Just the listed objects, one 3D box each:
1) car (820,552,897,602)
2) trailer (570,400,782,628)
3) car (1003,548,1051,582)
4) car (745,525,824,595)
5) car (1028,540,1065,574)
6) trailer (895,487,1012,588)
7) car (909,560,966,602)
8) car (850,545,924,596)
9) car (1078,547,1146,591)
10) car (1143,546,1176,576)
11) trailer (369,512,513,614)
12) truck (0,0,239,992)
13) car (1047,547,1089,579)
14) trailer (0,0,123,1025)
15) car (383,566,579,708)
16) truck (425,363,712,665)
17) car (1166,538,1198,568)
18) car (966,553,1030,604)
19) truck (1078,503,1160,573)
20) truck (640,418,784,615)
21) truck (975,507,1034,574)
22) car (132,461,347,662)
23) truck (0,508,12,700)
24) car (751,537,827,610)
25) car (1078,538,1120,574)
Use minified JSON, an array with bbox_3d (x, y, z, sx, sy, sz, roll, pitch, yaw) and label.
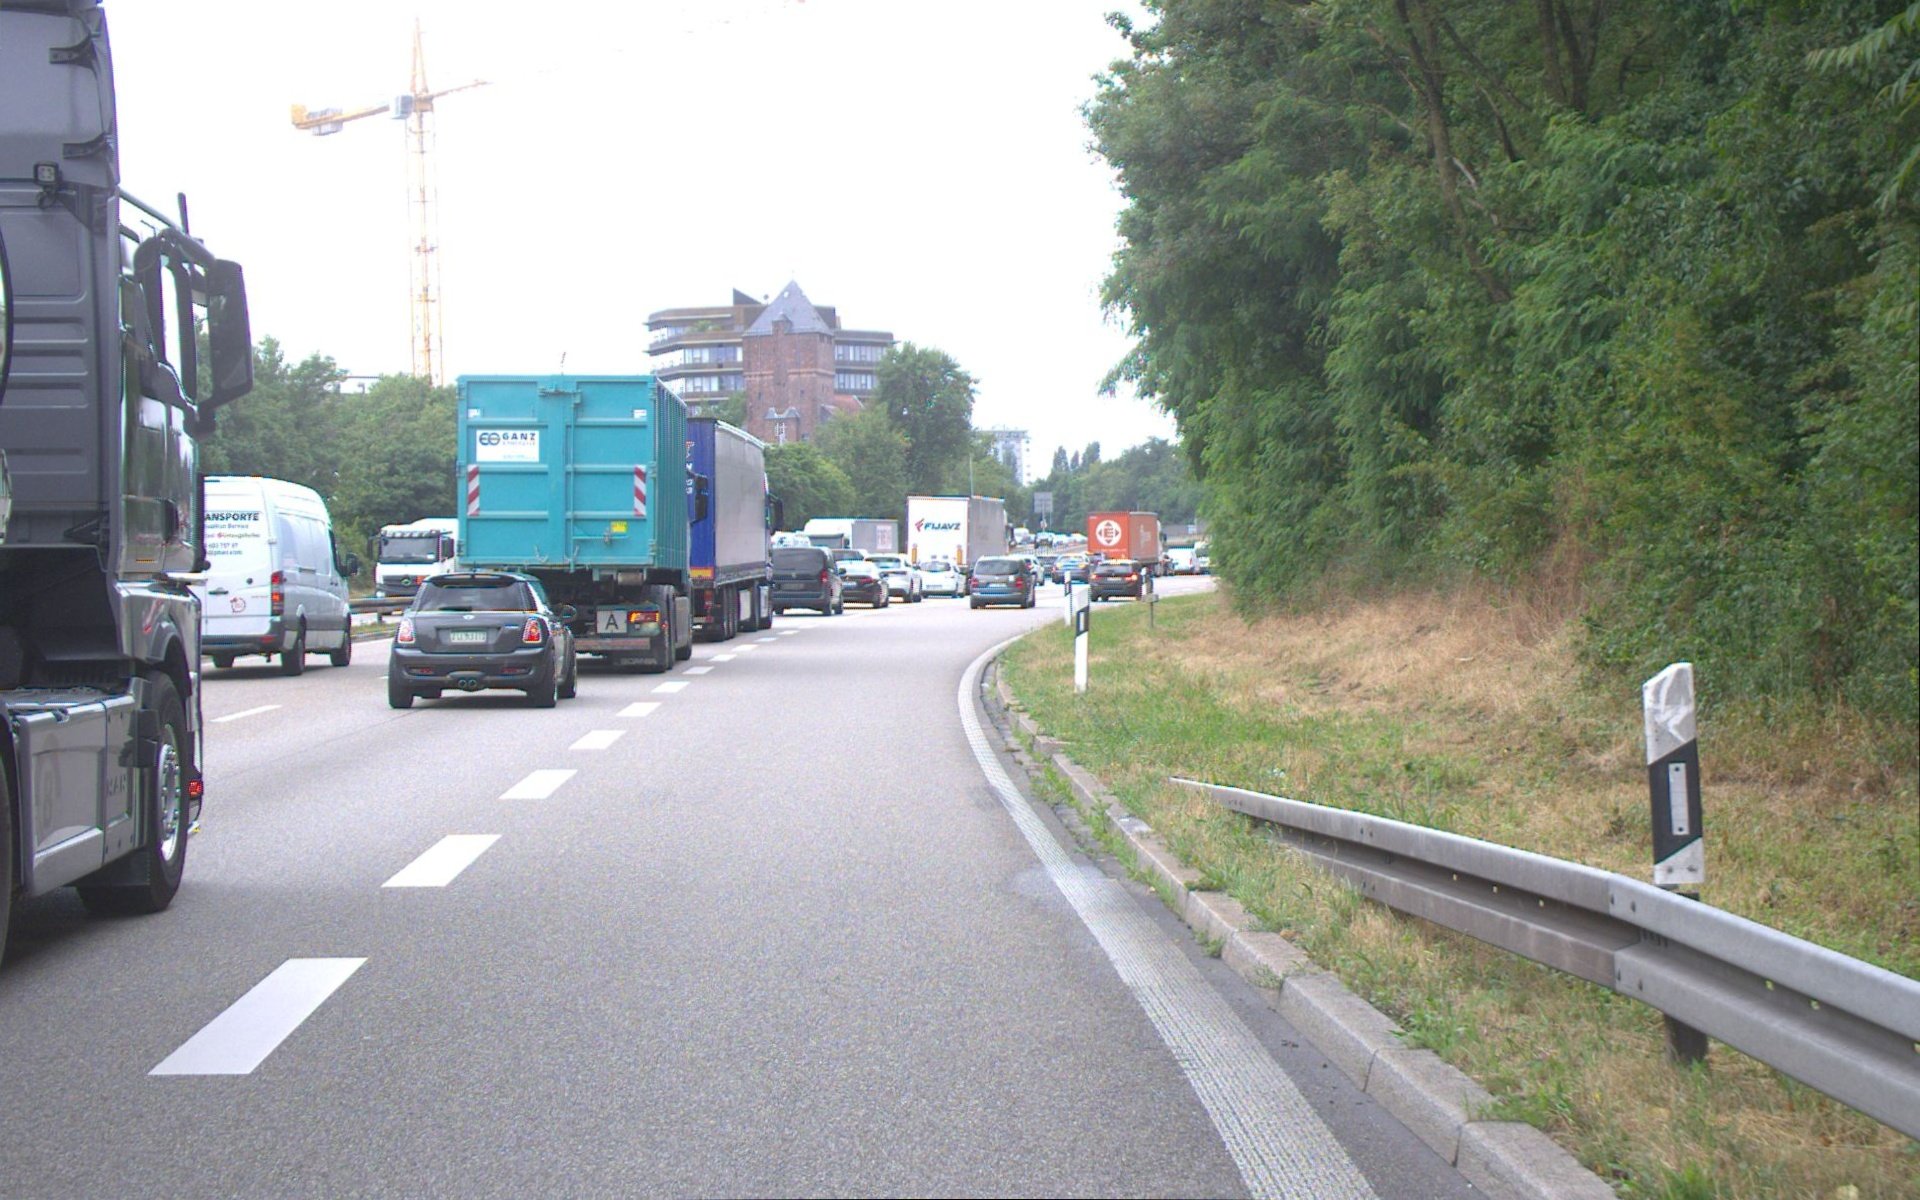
[{"bbox_3d":[-3.118,-0.725,106.385,1.847,1.455,4.830,-1,1,5],"label":"car"},{"bbox_3d":[-5.354,-1.553,67.262,2.626,4.009,13.463,0,0,2],"label":"trailer"},{"bbox_3d":[3.287,-1.727,167.962,1.800,1.598,4.256,-1,1,9],"label":"car"},{"bbox_3d":[-6.581,-1.515,129.334,1.994,2.545,5.360,-1,1,8],"label":"car"},{"bbox_3d":[5.314,-2.645,210.726,1.818,2.007,3.999,-1,1,7],"label":"car"},{"bbox_3d":[-0.171,-2.513,143.054,3.299,4.022,13.094,0,0,7],"label":"trailer"},{"bbox_3d":[-0.828,-0.746,130.186,1.764,1.473,4.088,-2,1,4],"label":"car"},{"bbox_3d":[-2.503,-1.034,119.204,1.957,1.689,4.865,-1,1,6],"label":"car"},{"bbox_3d":[5.309,-1.089,119.709,1.826,1.477,3.998,-1,1,10],"label":"car"},{"bbox_3d":[13.156,-2.580,226.438,1.615,1.941,3.703,0,0,12],"label":"car"},{"bbox_3d":[-18.230,-1.331,121.538,2.470,3.384,12.462,-1,1,3],"label":"trailer"},{"bbox_3d":[-4.627,-0.678,13.095,2.682,3.894,6.937,-1,1,-4],"label":"truck"},{"bbox_3d":[5.719,-1.931,181.776,1.718,1.678,3.999,0,0,9],"label":"car"},{"bbox_3d":[-4.146,-0.545,7.360,2.682,3.894,10.989,-1,1,-4],"label":"trailer"},{"bbox_3d":[-5.112,0.362,37.098,1.747,1.417,3.664,-1,1,-3],"label":"car"},{"bbox_3d":[-5.403,-1.177,49.546,2.929,3.783,11.331,-1,1,-1],"label":"truck"},{"bbox_3d":[15.413,-3.249,238.251,1.615,2.007,3.998,-1,1,12],"label":"car"},{"bbox_3d":[1.179,-0.665,105.413,1.825,1.477,4.000,-1,1,2],"label":"car"},{"bbox_3d":[9.805,-3.807,210.410,3.491,4.059,13.587,-1,1,9],"label":"truck"},{"bbox_3d":[-5.243,-1.733,73.675,2.561,4.029,6.589,0,0,0],"label":"truck"},{"bbox_3d":[2.864,-3.723,218.974,2.739,4.124,10.695,0,0,6],"label":"truck"},{"bbox_3d":[-9.844,-0.513,47.476,2.221,2.569,6.799,0,0,-6],"label":"car"},{"bbox_3d":[-10.922,0.078,34.440,1.993,2.007,4.001,-1,1,-5],"label":"truck"},{"bbox_3d":[-4.656,-0.739,94.062,1.987,1.891,4.985,-1,1,-2],"label":"car"},{"bbox_3d":[8.044,-2.537,198.821,1.994,2.007,3.999,-1,1,8],"label":"car"}]
